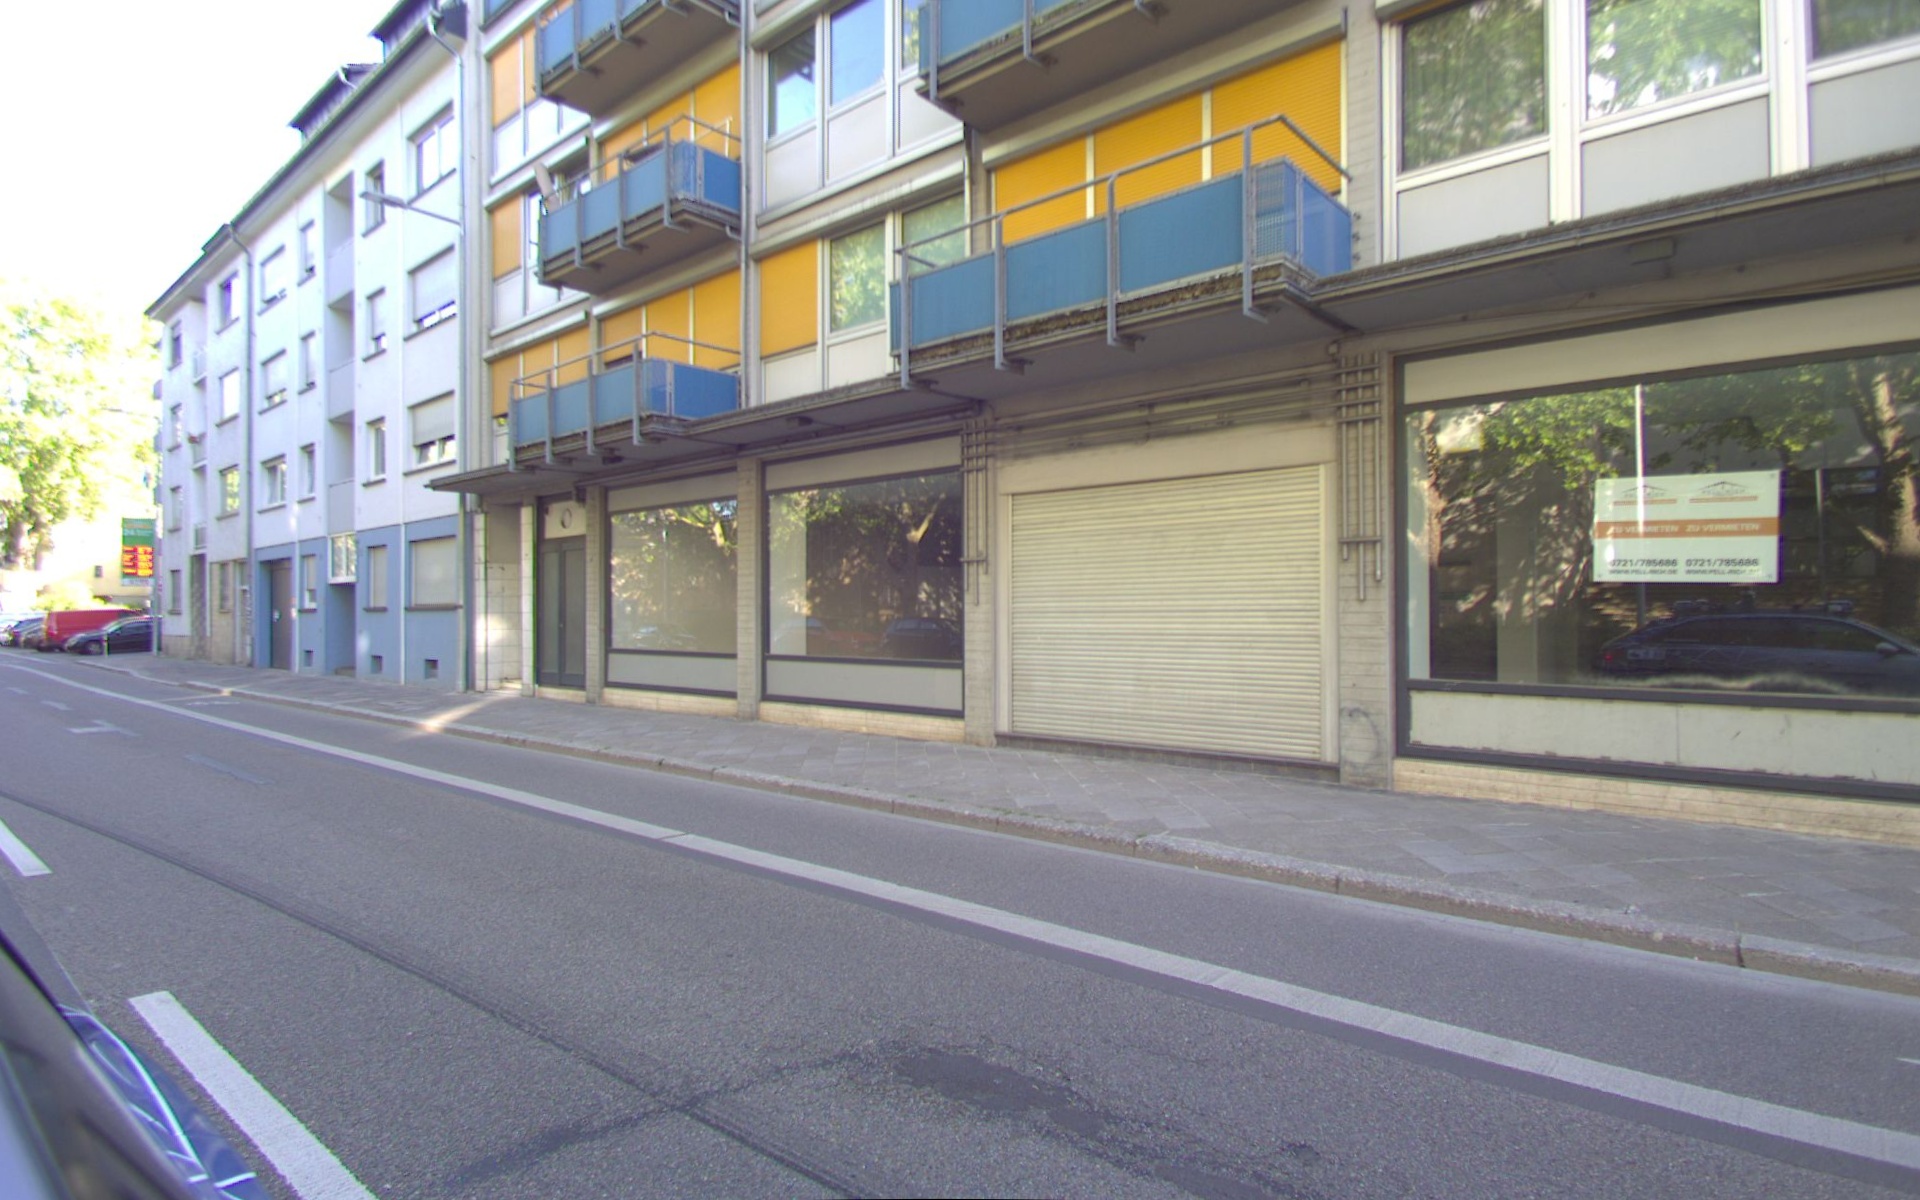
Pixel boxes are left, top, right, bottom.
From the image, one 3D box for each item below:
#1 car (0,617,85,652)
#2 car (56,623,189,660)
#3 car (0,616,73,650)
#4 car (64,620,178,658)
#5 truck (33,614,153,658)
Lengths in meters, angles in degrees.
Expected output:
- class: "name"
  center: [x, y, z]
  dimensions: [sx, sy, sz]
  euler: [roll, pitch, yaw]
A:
- class: "car"
  center: [-56.048, 2.062, 61.470]
  dimensions: [2.000, 1.971, 4.180]
  euler: [-1, 0, 43]
- class: "car"
  center: [-36.484, 1.790, 44.157]
  dimensions: [1.657, 1.417, 4.269]
  euler: [-1, 0, 40]
- class: "car"
  center: [-59.332, 2.091, 64.399]
  dimensions: [2.000, 2.052, 4.180]
  euler: [-1, 0, 43]
- class: "car"
  center: [-38.034, 1.726, 45.940]
  dimensions: [1.657, 1.583, 3.762]
  euler: [-1, 0, 41]
- class: "truck"
  center: [-40.712, 1.644, 47.572]
  dimensions: [1.999, 1.939, 4.040]
  euler: [-1, 0, 40]
